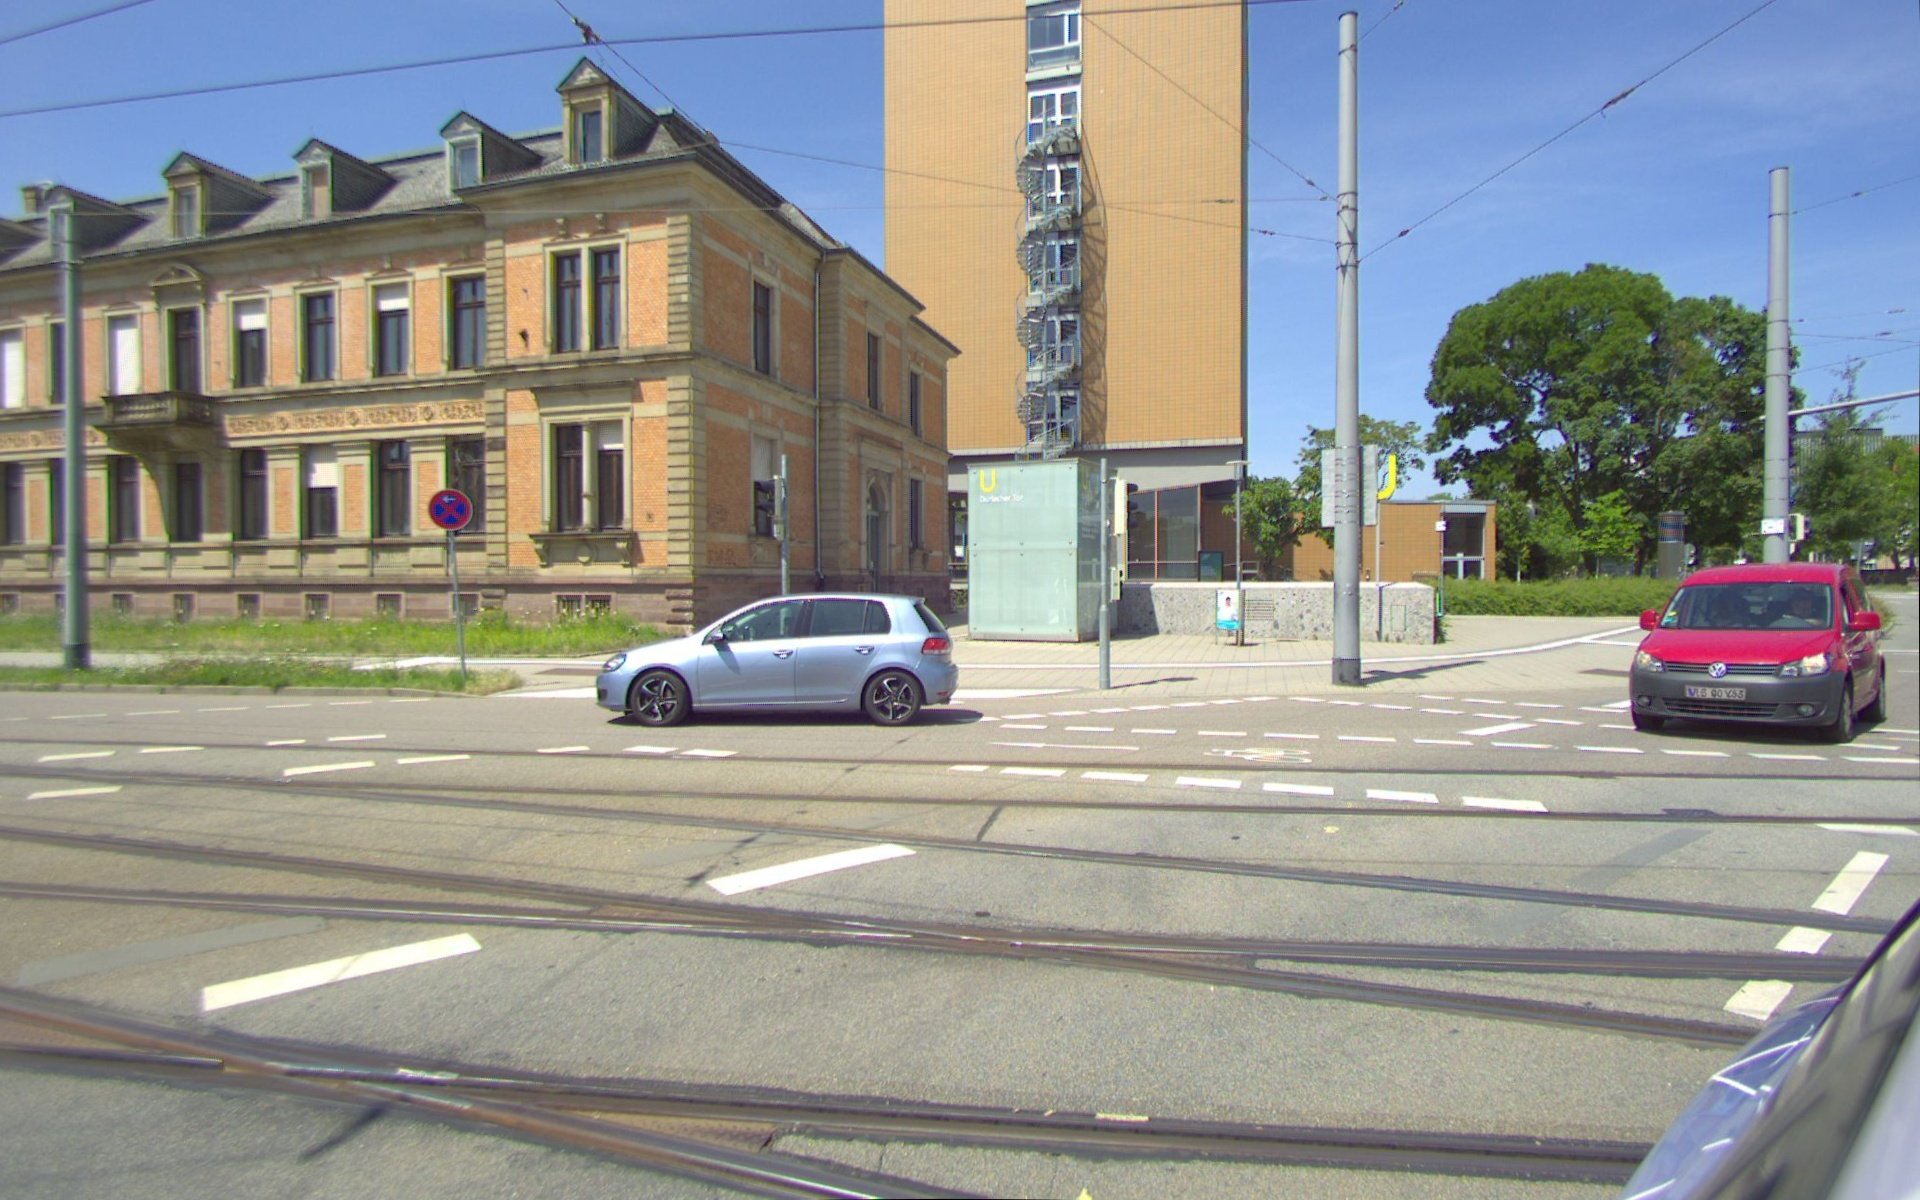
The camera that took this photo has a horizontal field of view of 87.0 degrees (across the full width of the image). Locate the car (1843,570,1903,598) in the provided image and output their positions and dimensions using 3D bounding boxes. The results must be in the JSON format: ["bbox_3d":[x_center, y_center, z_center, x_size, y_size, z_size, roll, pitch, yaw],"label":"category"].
[{"bbox_3d":[62.354,-1.110,69.191,1.980,1.772,3.963,-2,0,27],"label":"car"}]

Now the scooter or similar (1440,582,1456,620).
[{"bbox_3d":[15.700,0.016,32.553,0.454,1.185,1.239,0,1,26],"label":"scooter or similar"}]

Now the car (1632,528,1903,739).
[{"bbox_3d":[9.002,0.257,11.129,4.469,1.882,1.653,-1,1,-43],"label":"car"}]

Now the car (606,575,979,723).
[{"bbox_3d":[-1.785,0.519,11.545,3.927,1.477,1.656,-1,0,0],"label":"car"}]
